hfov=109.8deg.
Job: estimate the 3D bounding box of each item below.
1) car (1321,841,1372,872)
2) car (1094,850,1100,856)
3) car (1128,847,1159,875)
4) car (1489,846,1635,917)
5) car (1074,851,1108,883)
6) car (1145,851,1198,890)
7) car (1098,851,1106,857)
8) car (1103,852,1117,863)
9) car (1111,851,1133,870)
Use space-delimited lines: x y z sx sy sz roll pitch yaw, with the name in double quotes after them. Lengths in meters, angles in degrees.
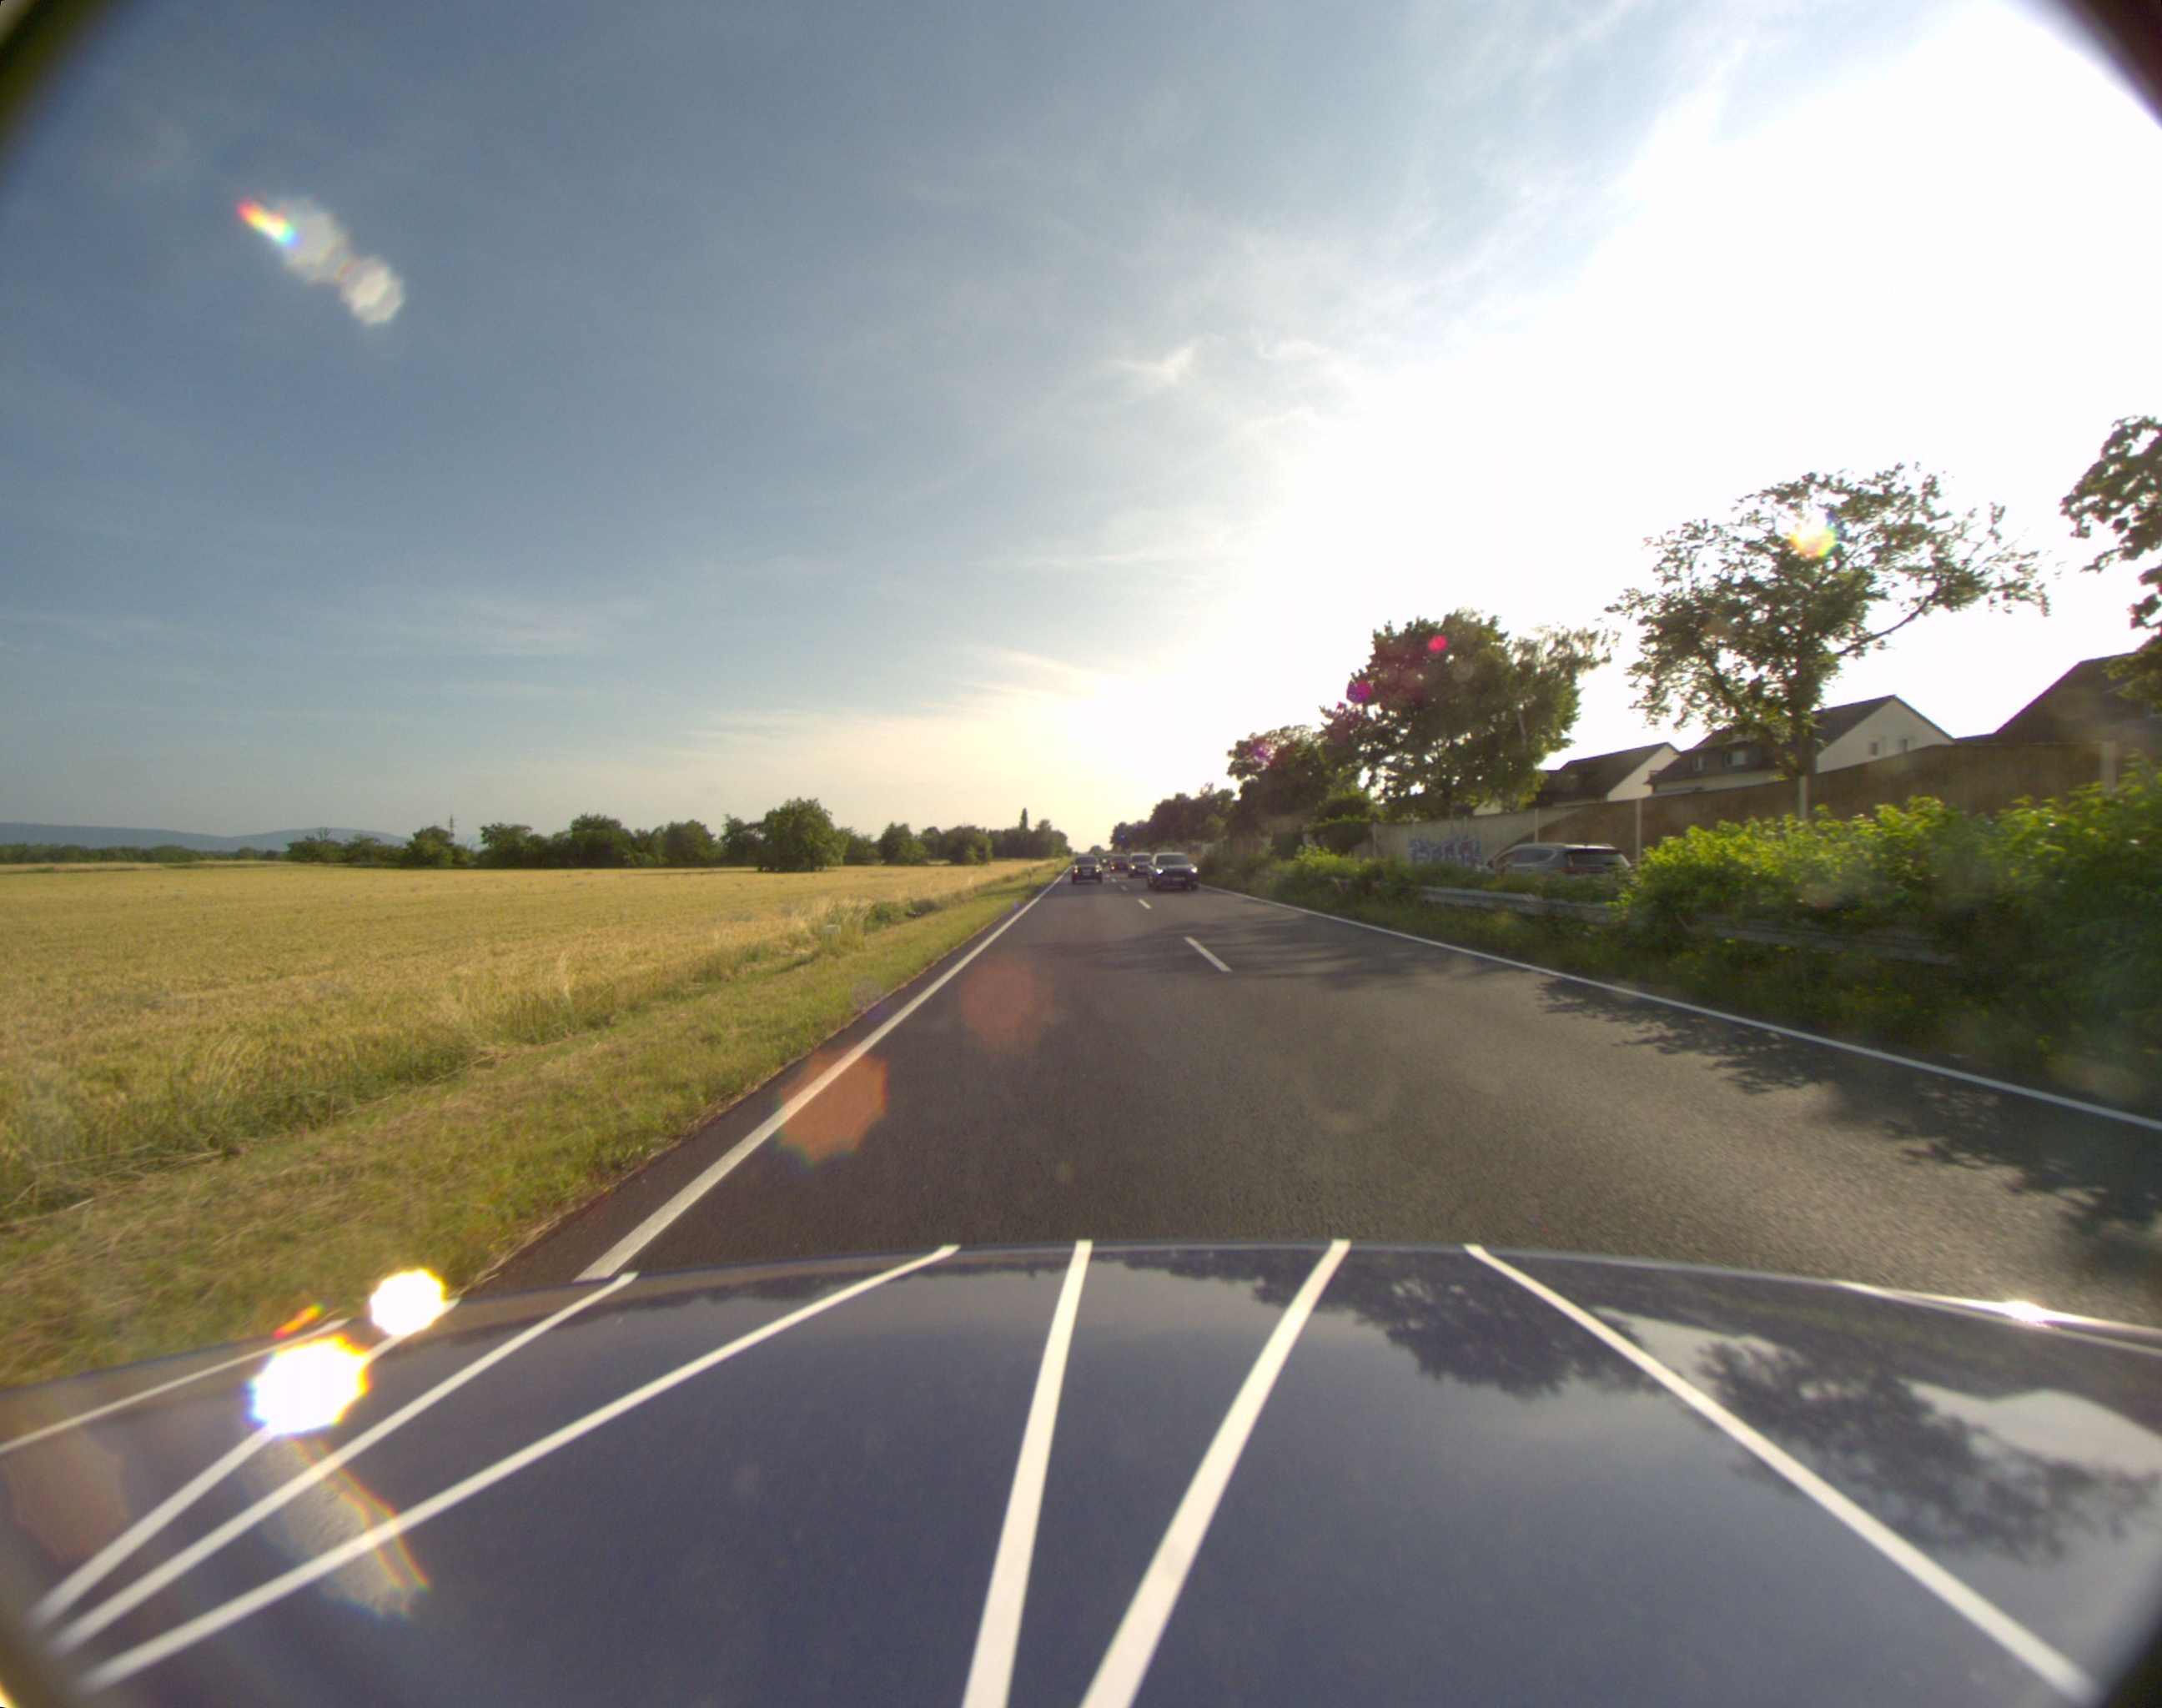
15.319 0.141 43.997 1.811 1.652 3.335 -2 1 0 "car"
4.637 -0.271 226.589 1.728 1.525 3.999 -2 1 1 "car"
4.240 0.462 51.863 1.822 1.724 4.000 -2 1 1 "car"
11.094 0.562 17.767 1.420 1.454 3.146 -2 1 1 "car"
0.560 0.735 44.335 1.822 1.661 3.999 -2 1 0 "car"
3.857 0.664 33.115 1.822 1.516 4.246 -2 1 1 "car"
4.601 -0.007 166.844 1.693 1.397 3.999 -2 1 0 "car"
3.888 0.460 102.673 1.700 1.456 3.646 -2 1 0 "car"
3.853 0.557 71.583 1.822 1.661 3.999 -2 1 1 "car"
